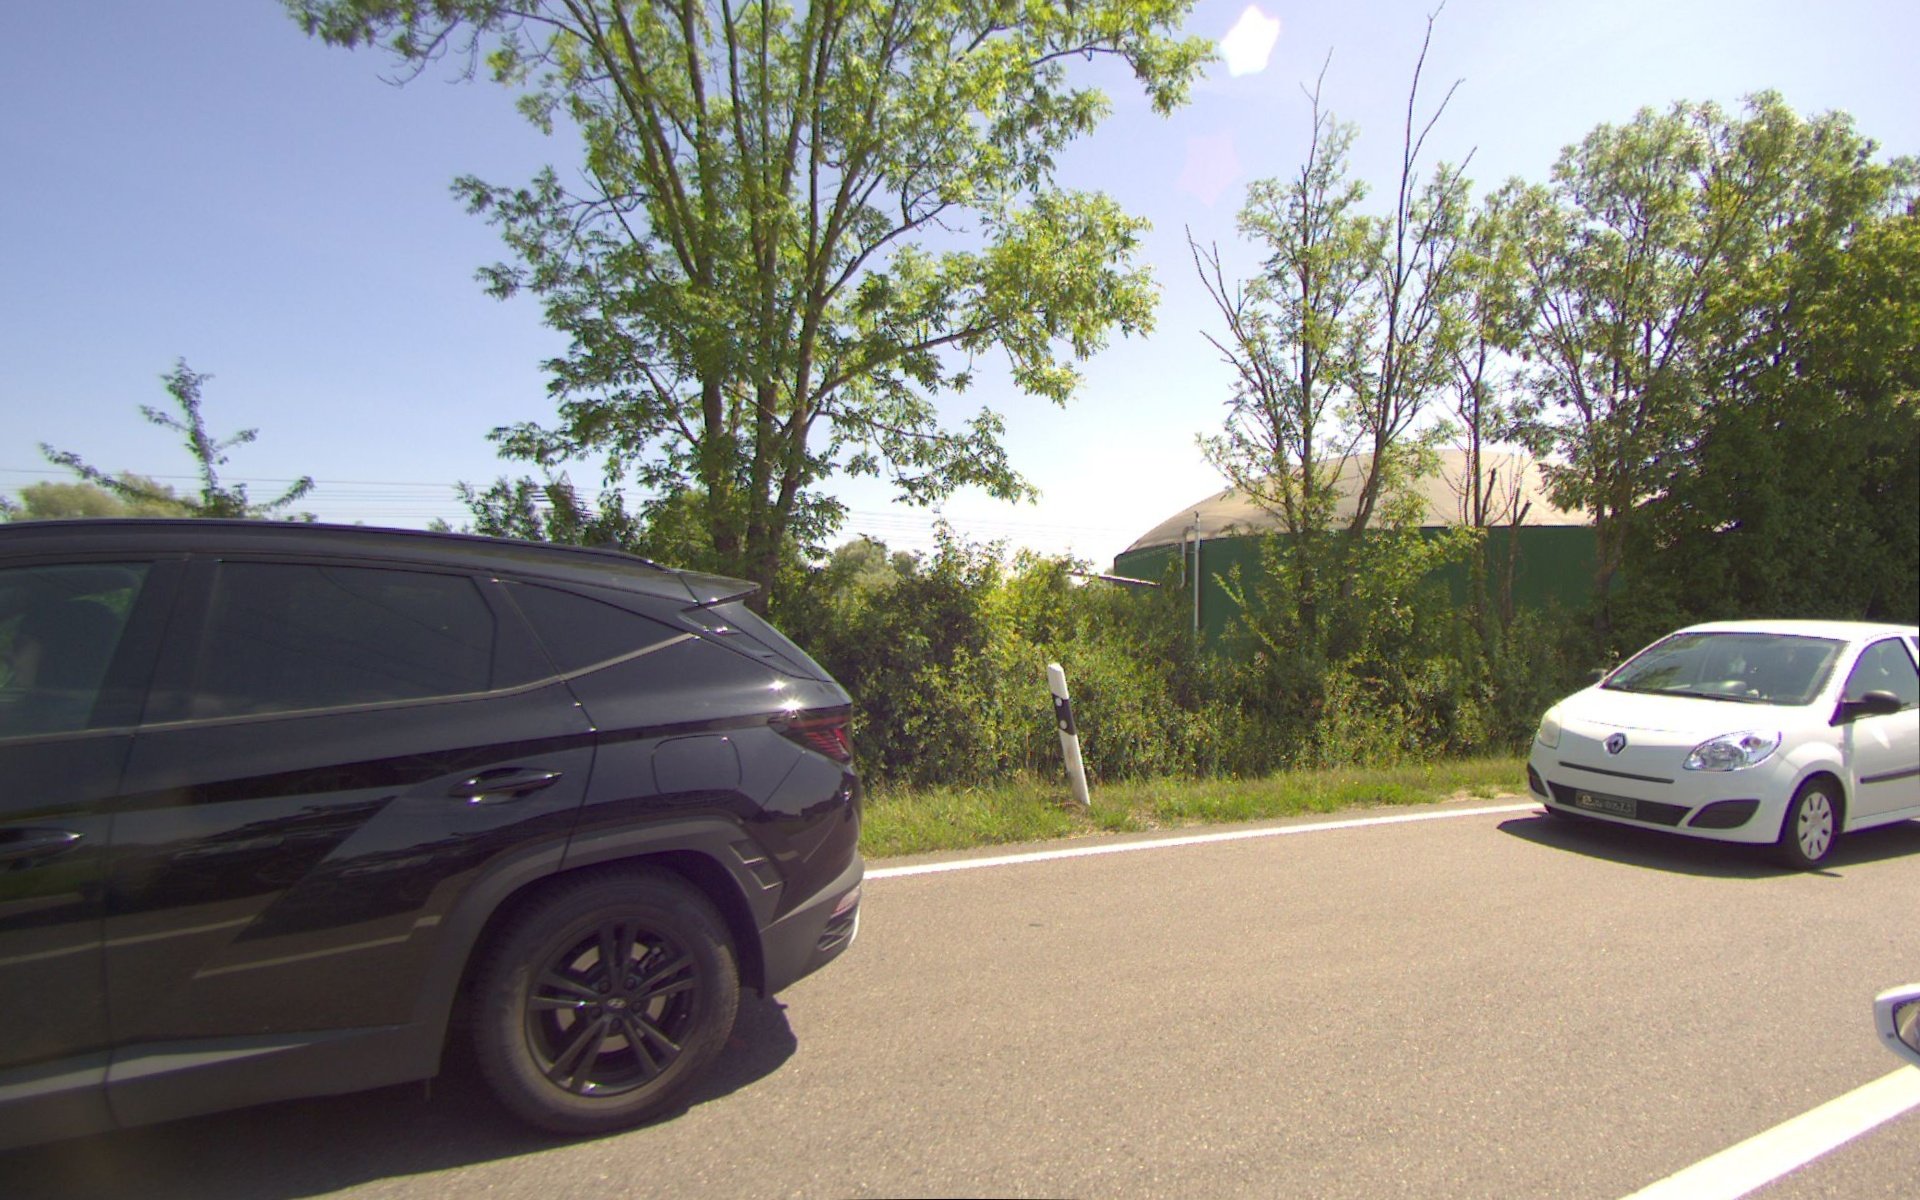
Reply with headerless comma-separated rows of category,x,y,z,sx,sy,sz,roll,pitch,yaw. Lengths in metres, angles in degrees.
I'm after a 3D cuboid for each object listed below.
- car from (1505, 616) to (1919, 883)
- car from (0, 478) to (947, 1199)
car,5.729,0.878,7.083,3.560,1.462,1.531,1,0,-26
car,-2.287,0.574,2.868,4.197,1.660,1.694,1,0,-29
